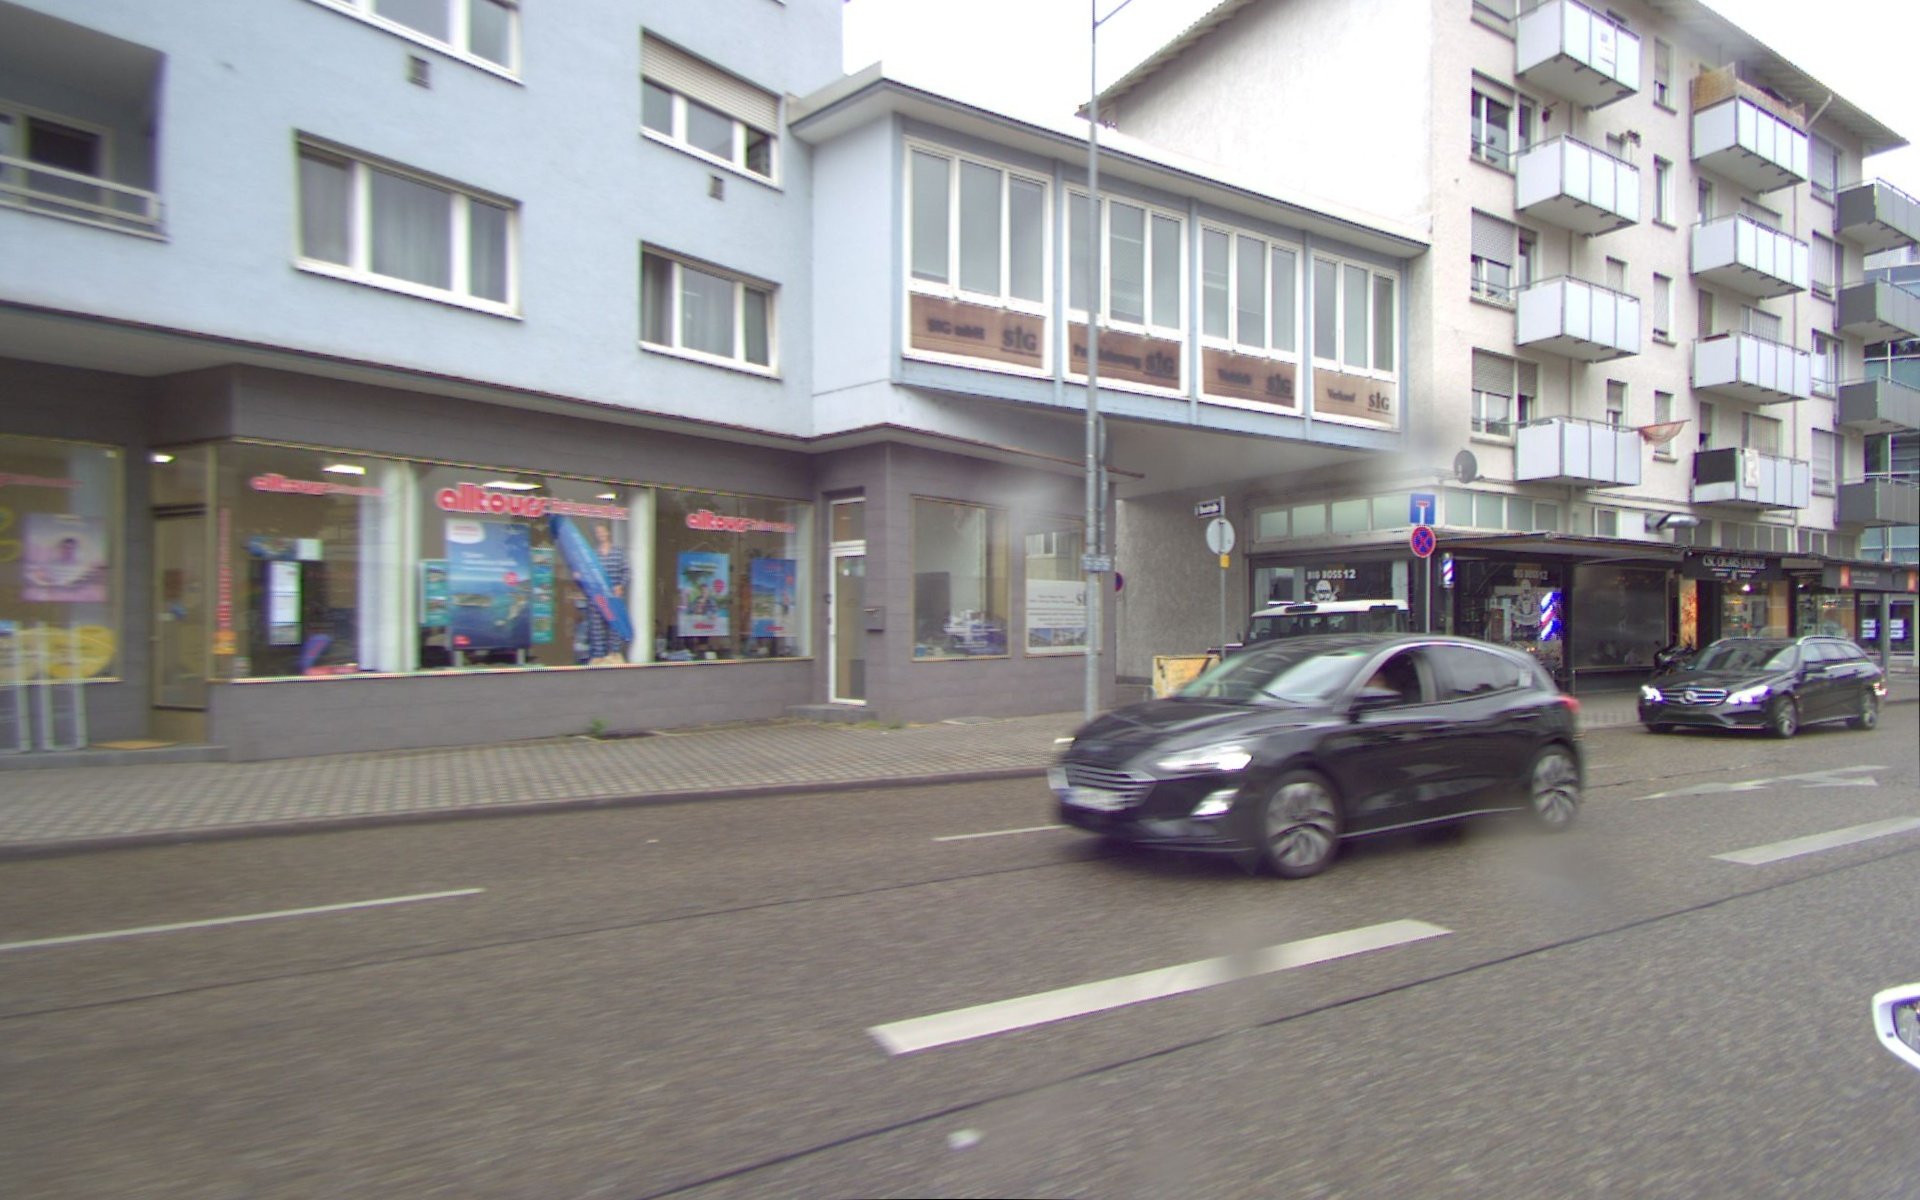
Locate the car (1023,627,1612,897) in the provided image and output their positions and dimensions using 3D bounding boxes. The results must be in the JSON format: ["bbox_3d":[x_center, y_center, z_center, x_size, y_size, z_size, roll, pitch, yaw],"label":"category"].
[{"bbox_3d":[2.636,0.956,7.181,4.116,1.441,1.713,1,-4,-30],"label":"car"}]

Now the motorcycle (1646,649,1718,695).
[{"bbox_3d":[16.934,1.663,23.545,2.110,1.008,0.523,1,1,-29],"label":"motorcycle"}]

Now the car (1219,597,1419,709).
[{"bbox_3d":[7.262,1.038,20.734,1.560,2.061,3.950,1,-2,-26],"label":"car"}]

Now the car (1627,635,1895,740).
[{"bbox_3d":[12.915,1.334,16.125,4.772,1.487,1.701,1,-4,-30],"label":"car"}]
